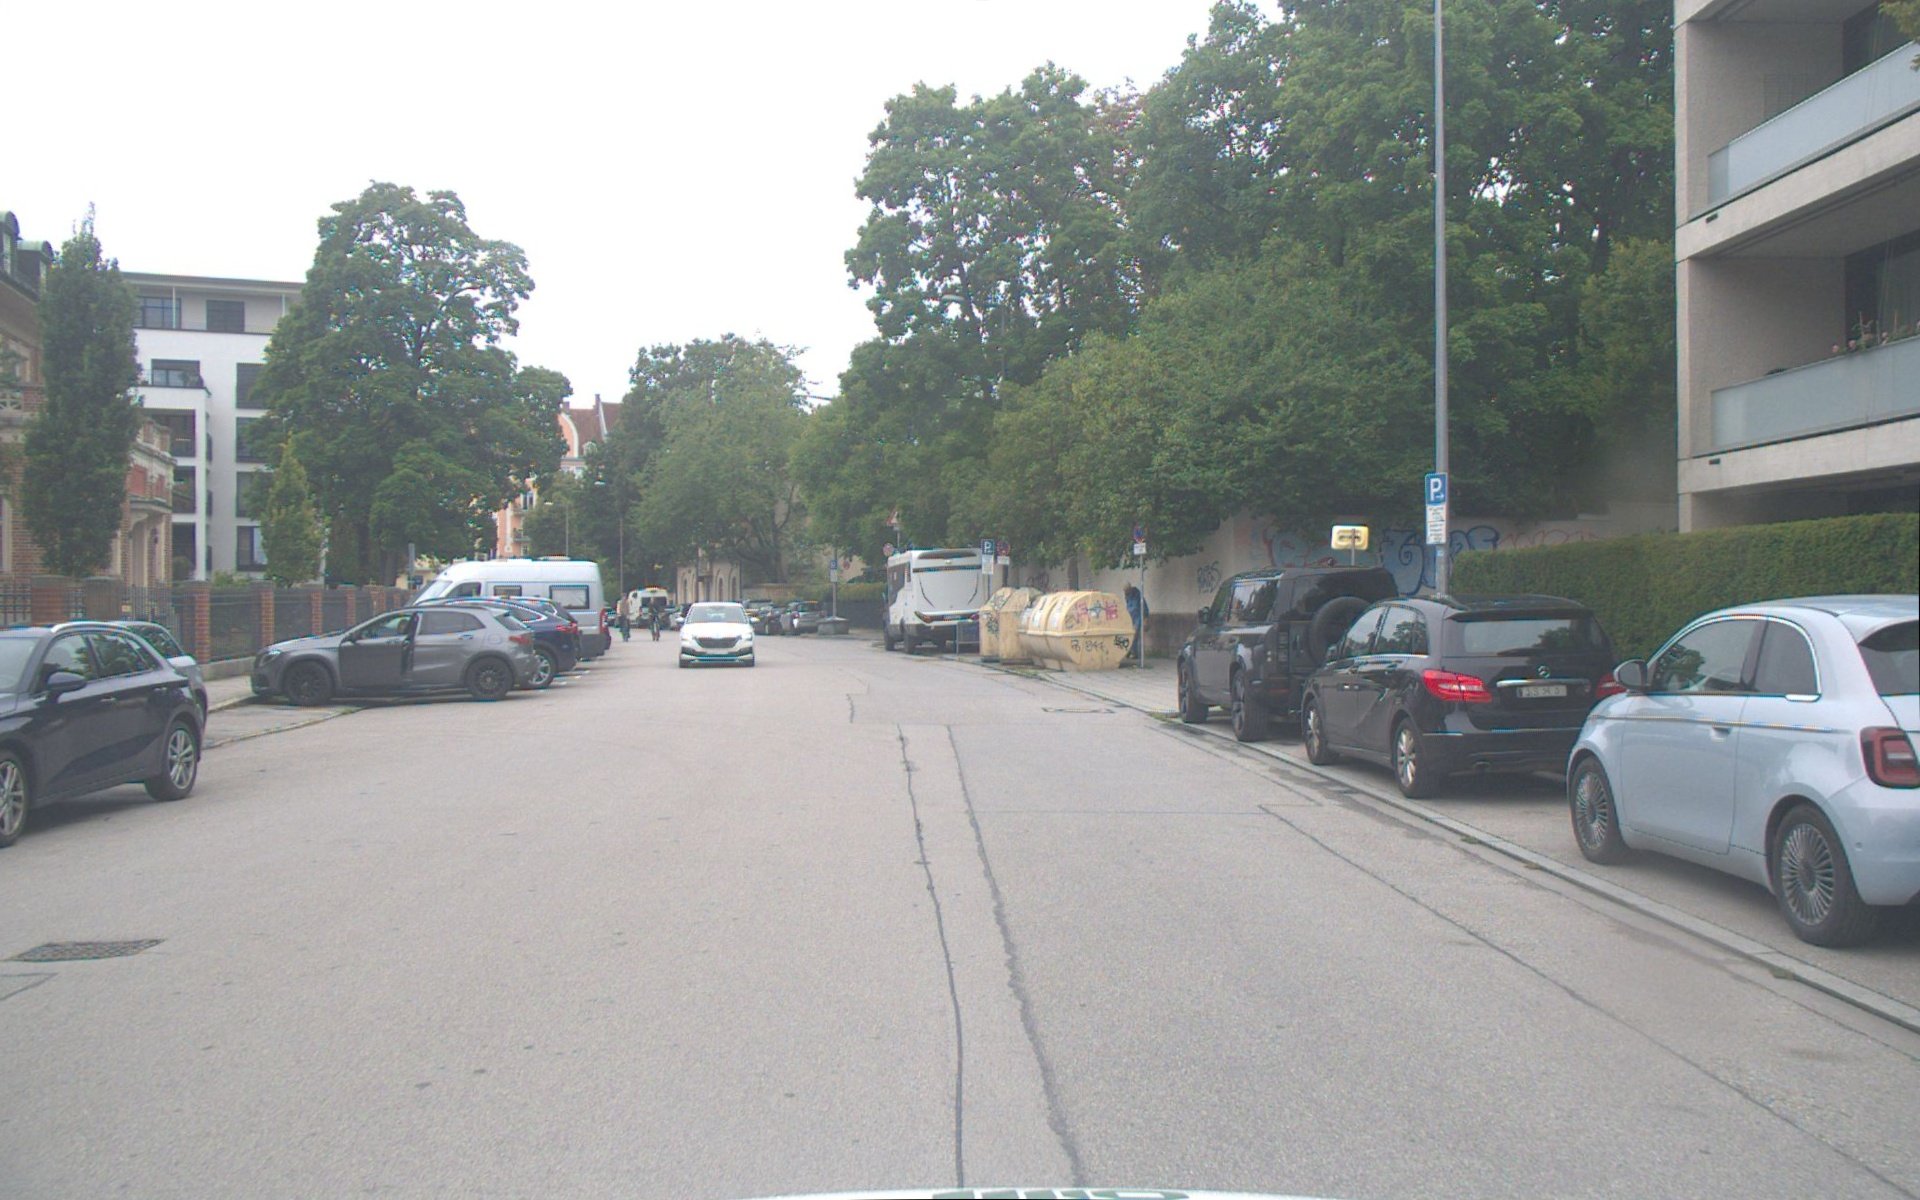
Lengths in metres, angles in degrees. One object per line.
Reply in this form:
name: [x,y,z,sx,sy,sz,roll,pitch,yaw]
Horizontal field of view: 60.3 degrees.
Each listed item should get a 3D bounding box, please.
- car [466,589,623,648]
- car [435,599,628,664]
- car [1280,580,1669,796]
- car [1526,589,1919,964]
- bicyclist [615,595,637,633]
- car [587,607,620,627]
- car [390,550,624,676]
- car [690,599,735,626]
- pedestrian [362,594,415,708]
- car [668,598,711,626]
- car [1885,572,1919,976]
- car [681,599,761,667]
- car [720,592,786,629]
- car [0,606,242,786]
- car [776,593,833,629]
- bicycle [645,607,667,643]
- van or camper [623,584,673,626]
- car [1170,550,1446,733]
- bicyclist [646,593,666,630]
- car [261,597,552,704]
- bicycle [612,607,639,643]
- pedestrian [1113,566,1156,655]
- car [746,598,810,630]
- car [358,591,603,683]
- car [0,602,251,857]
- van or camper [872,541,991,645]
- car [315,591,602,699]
car: [-13.327,0.582,53.179,4.489,1.694,1.957,-2,0,-42]
car: [-11.189,0.781,43.304,4.483,1.476,1.950,-2,1,-39]
car: [4.238,0.630,14.456,1.713,1.566,4.566,-1,0,-4]
car: [4.572,0.708,8.742,1.712,1.506,3.887,-1,0,-2]
bicyclist: [-12.697,0.525,62.809,0.686,1.422,0.924,-1,0,-20]
car: [-27.324,1.280,126.724,1.684,1.432,4.101,-2,0,-22]
car: [-10.191,0.242,37.320,4.585,2.608,2.207,-2,1,-35]
car: [-14.001,0.731,93.370,1.661,1.466,3.975,-2,0,-21]
pedestrian: [-8.719,0.773,25.241,0.579,1.676,0.713,-2,-1,-8]
car: [-16.046,0.720,98.051,1.683,1.564,4.213,-3,1,-21]
car: [4.482,0.673,4.124,1.712,1.506,4.597,0,1,-1]
car: [-5.578,0.728,38.826,1.739,1.501,4.127,-1,0,-8]
car: [-10.616,0.521,84.461,1.968,1.741,4.848,-2,1,-24]
car: [-9.147,0.913,17.117,1.706,1.561,4.147,-3,0,-3]
car: [-7.209,0.521,76.428,1.716,1.563,2.924,-2,0,-24]
bicycle: [-11.645,0.940,63.283,0.695,1.328,2.110,-1,0,-14]
van or camper: [-20.738,0.323,109.722,2.162,2.594,5.689,-2,0,-22]
car: [3.963,0.457,19.817,1.948,1.904,5.073,0,-1,-4]
bicyclist: [-11.601,0.432,63.126,0.685,1.376,0.926,-1,0,-16]
car: [-8.743,0.782,26.501,4.259,1.556,1.926,-1,-1,-15]
bicycle: [-12.707,0.930,62.824,0.697,1.328,2.106,-1,0,-20]
pedestrian: [4.032,0.234,38.215,0.783,2.020,0.627,-1,0,-17]
car: [-8.864,0.660,80.193,1.853,1.452,4.190,-2,1,-24]
car: [-9.904,0.746,34.313,4.476,1.654,1.942,-2,-1,-36]
car: [-7.011,0.865,12.059,1.808,1.561,4.559,-3,0,-2]
van or camper: [-0.998,-0.207,50.915,2.233,2.957,7.253,-1,0,-13]
car: [-8.834,0.753,29.264,4.476,1.621,1.941,-2,0,-35]
